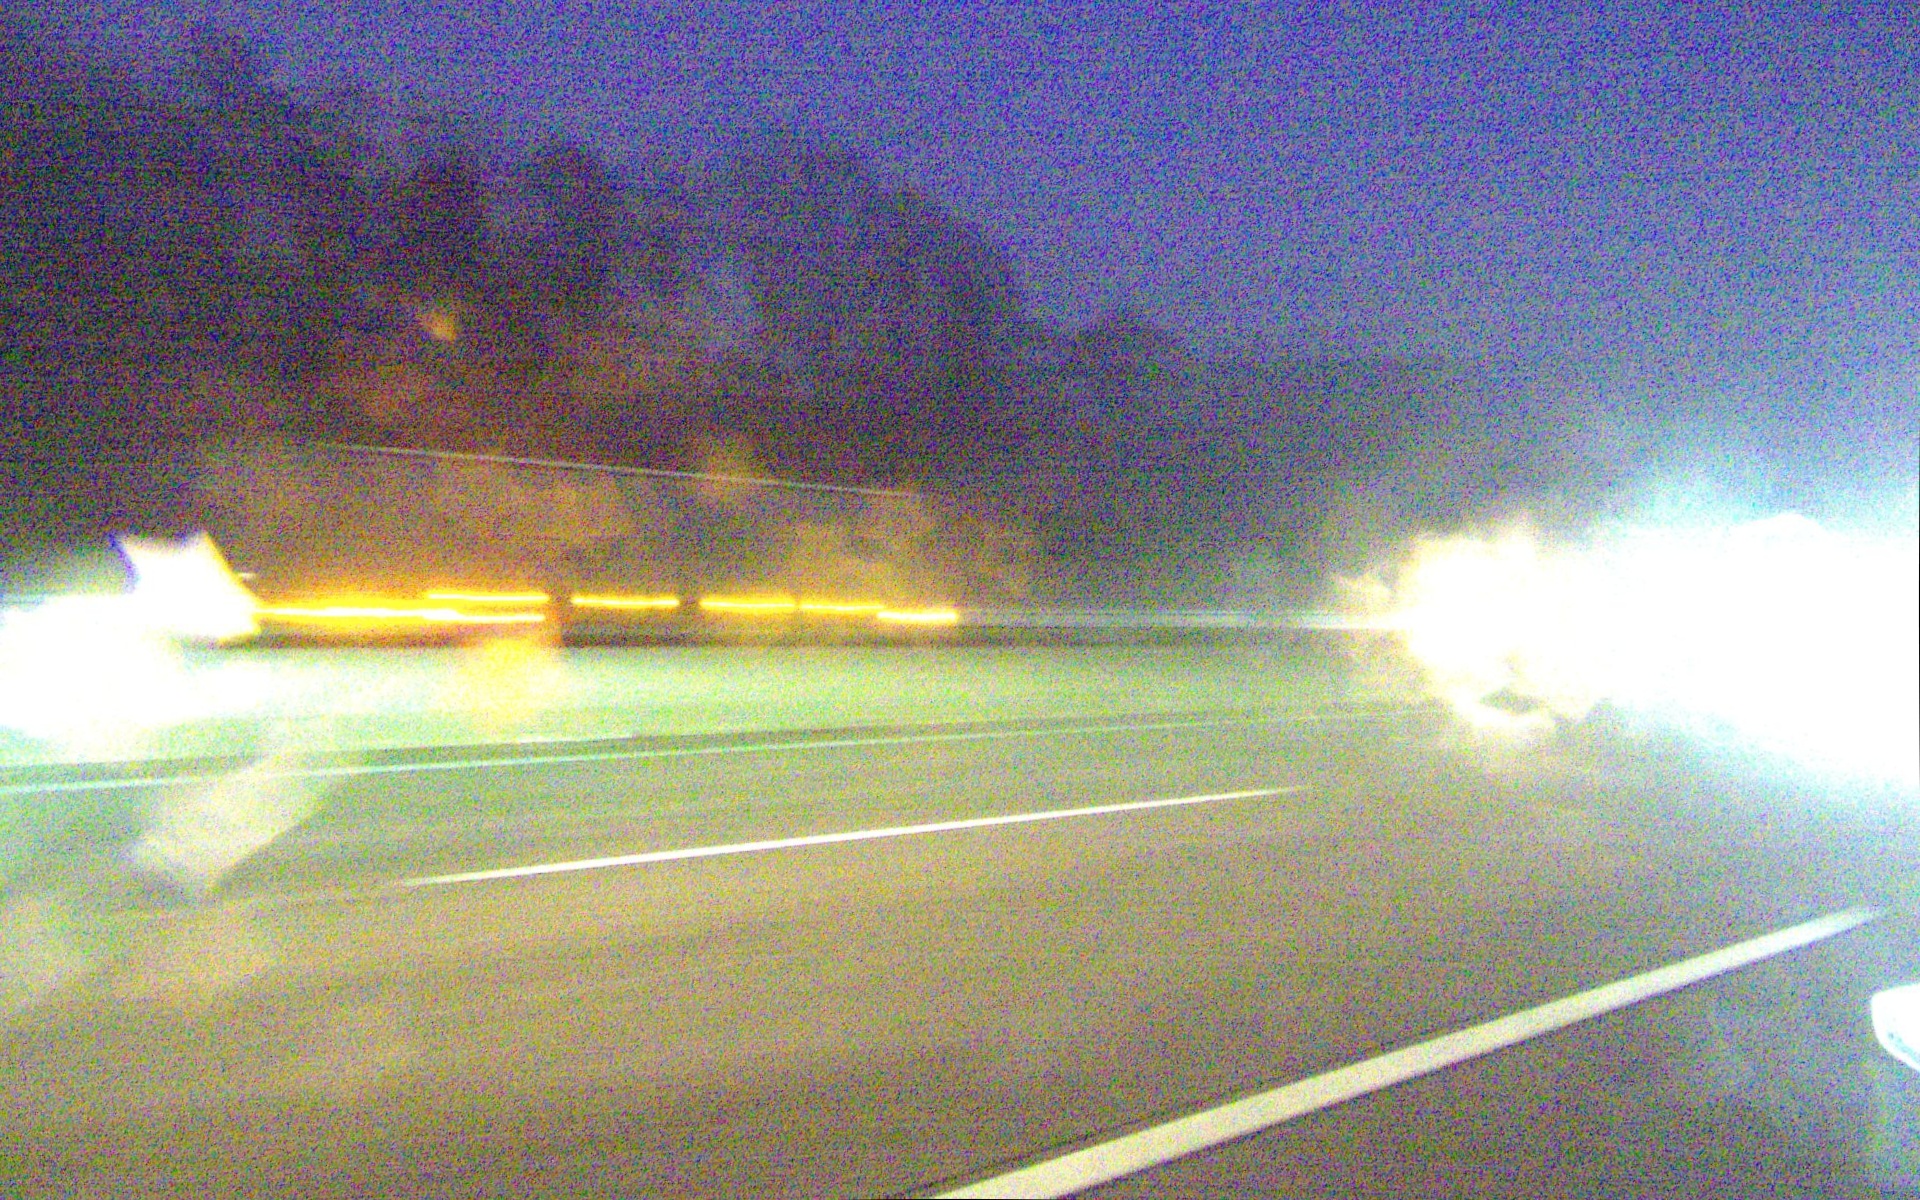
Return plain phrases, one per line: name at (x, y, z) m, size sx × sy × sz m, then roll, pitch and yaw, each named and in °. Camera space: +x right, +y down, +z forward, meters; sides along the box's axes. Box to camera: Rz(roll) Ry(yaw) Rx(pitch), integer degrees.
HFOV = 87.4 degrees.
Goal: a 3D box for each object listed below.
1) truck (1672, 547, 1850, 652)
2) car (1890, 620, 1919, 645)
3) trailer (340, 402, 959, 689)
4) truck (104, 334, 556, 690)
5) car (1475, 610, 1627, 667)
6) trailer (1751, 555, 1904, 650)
truck at (45.043, -0.016, 56.395) m, size 10.358 × 5.211 × 4.314 m, roll 1°, pitch 5°, yaw -33°
car at (53.733, 1.830, 55.979) m, size 4.225 × 1.237 × 1.697 m, roll 2°, pitch 2°, yaw -32°
trailer at (-6.984, -0.923, 24.532) m, size 13.584 × 5.518 × 4.147 m, roll 2°, pitch 1°, yaw -30°
truck at (-12.745, -1.495, 21.178) m, size 7.257 × 6.210 × 4.148 m, roll 2°, pitch 1°, yaw -30°
car at (17.876, 1.159, 30.303) m, size 4.958 × 1.500 × 1.698 m, roll 2°, pitch 2°, yaw -30°
trailer at (53.248, 0.166, 61.608) m, size 8.897 × 5.211 × 4.315 m, roll 1°, pitch 5°, yaw -32°
